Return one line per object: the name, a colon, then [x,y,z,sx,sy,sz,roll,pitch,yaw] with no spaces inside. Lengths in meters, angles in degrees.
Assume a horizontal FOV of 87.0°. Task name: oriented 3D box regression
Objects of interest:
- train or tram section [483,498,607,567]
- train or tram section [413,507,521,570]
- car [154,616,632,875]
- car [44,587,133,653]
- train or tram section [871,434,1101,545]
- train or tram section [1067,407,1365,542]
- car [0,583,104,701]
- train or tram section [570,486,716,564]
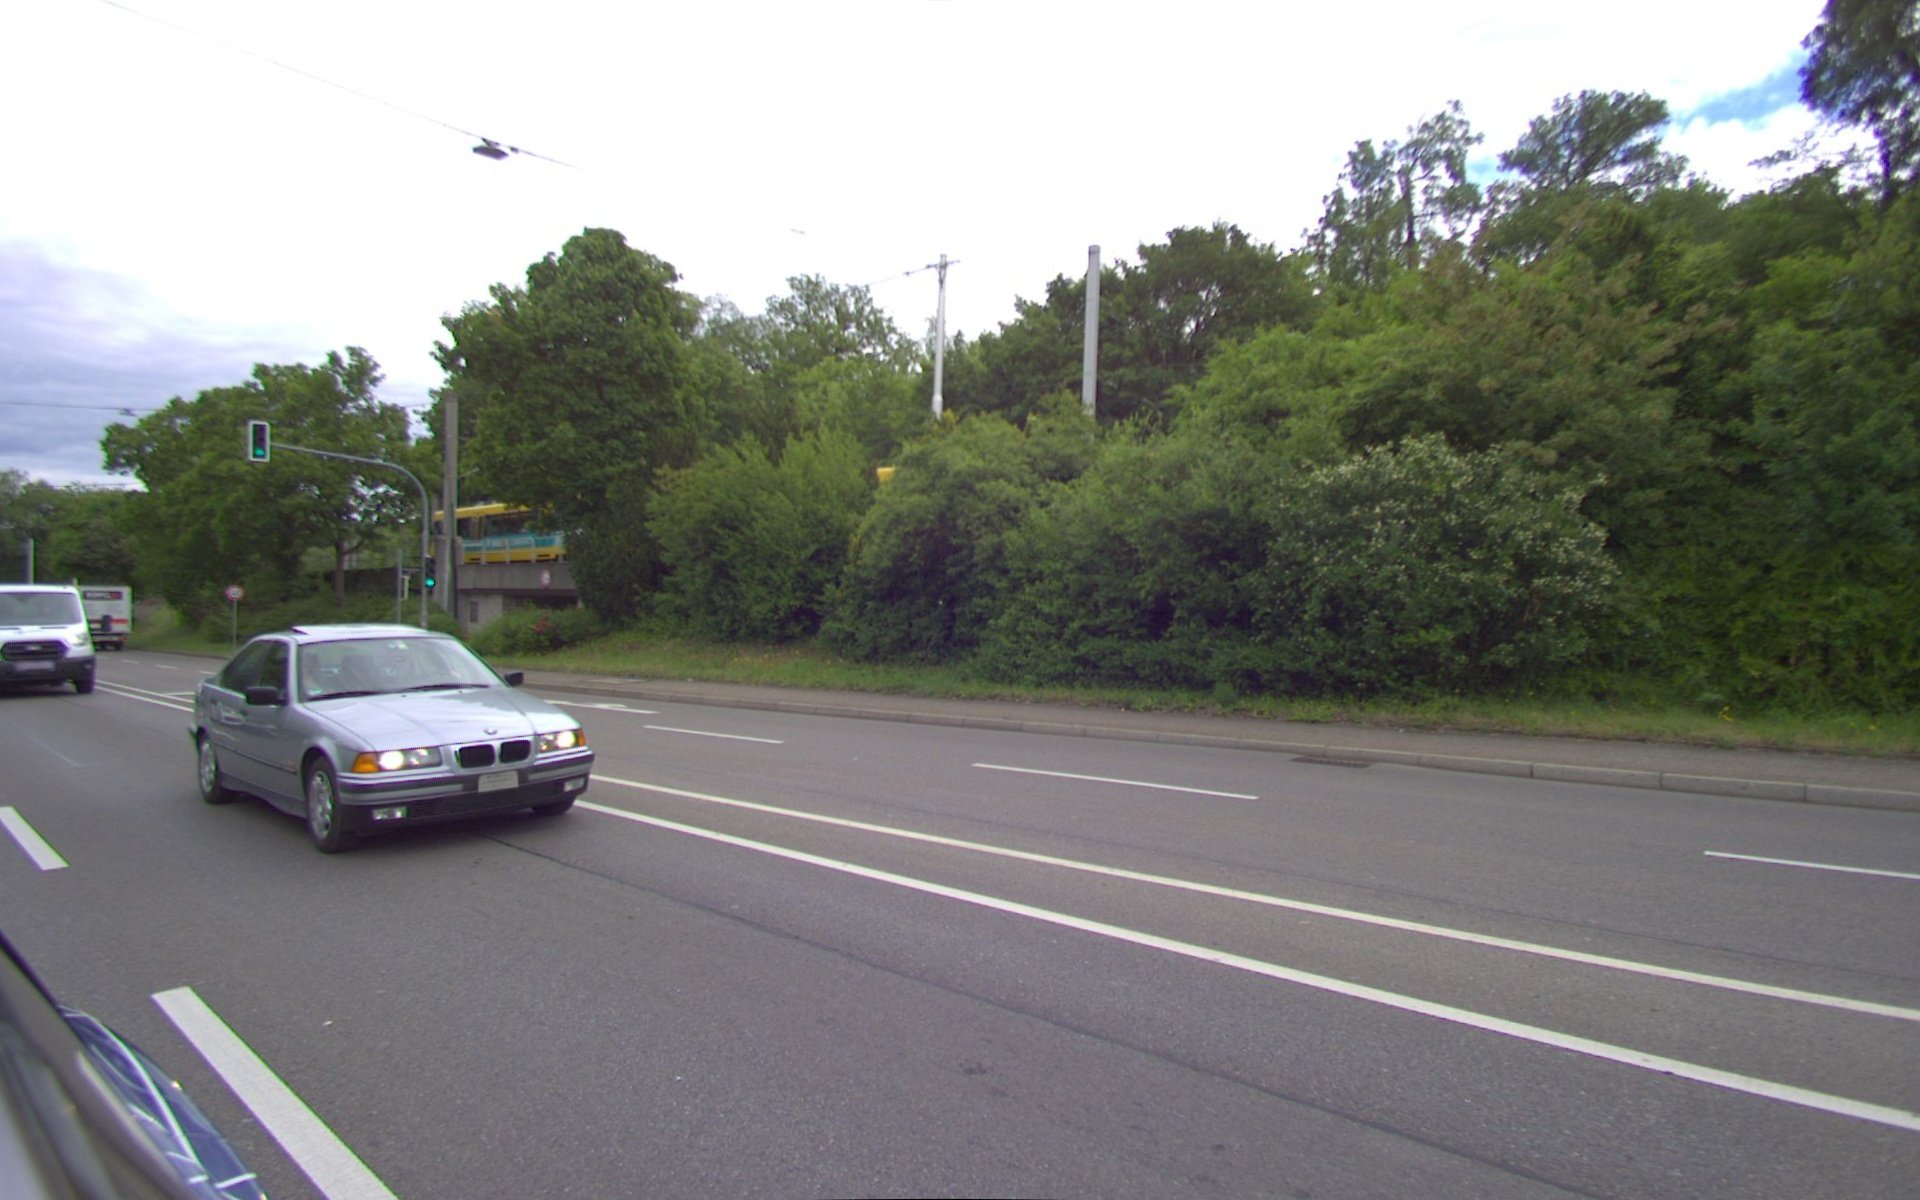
train or tram section: [-20.854,-3.254,50.594,8.142,3.066,2.037,0,1,39]
train or tram section: [-27.232,-3.283,55.708,8.142,3.066,2.037,0,1,39]
car: [-4.503,0.836,7.684,4.613,1.404,1.734,-1,-2,41]
car: [-43.690,0.988,50.665,7.230,3.079,2.247,-1,-1,40]
train or tram section: [0.677,-3.512,33.905,8.142,3.066,2.037,0,1,39]
train or tram section: [7.028,-3.352,28.800,8.142,3.066,2.037,0,1,39]
car: [-19.772,0.810,20.807,6.664,2.142,2.225,-1,-1,40]
train or tram section: [-14.349,-3.228,45.372,8.142,3.066,2.037,0,1,39]
